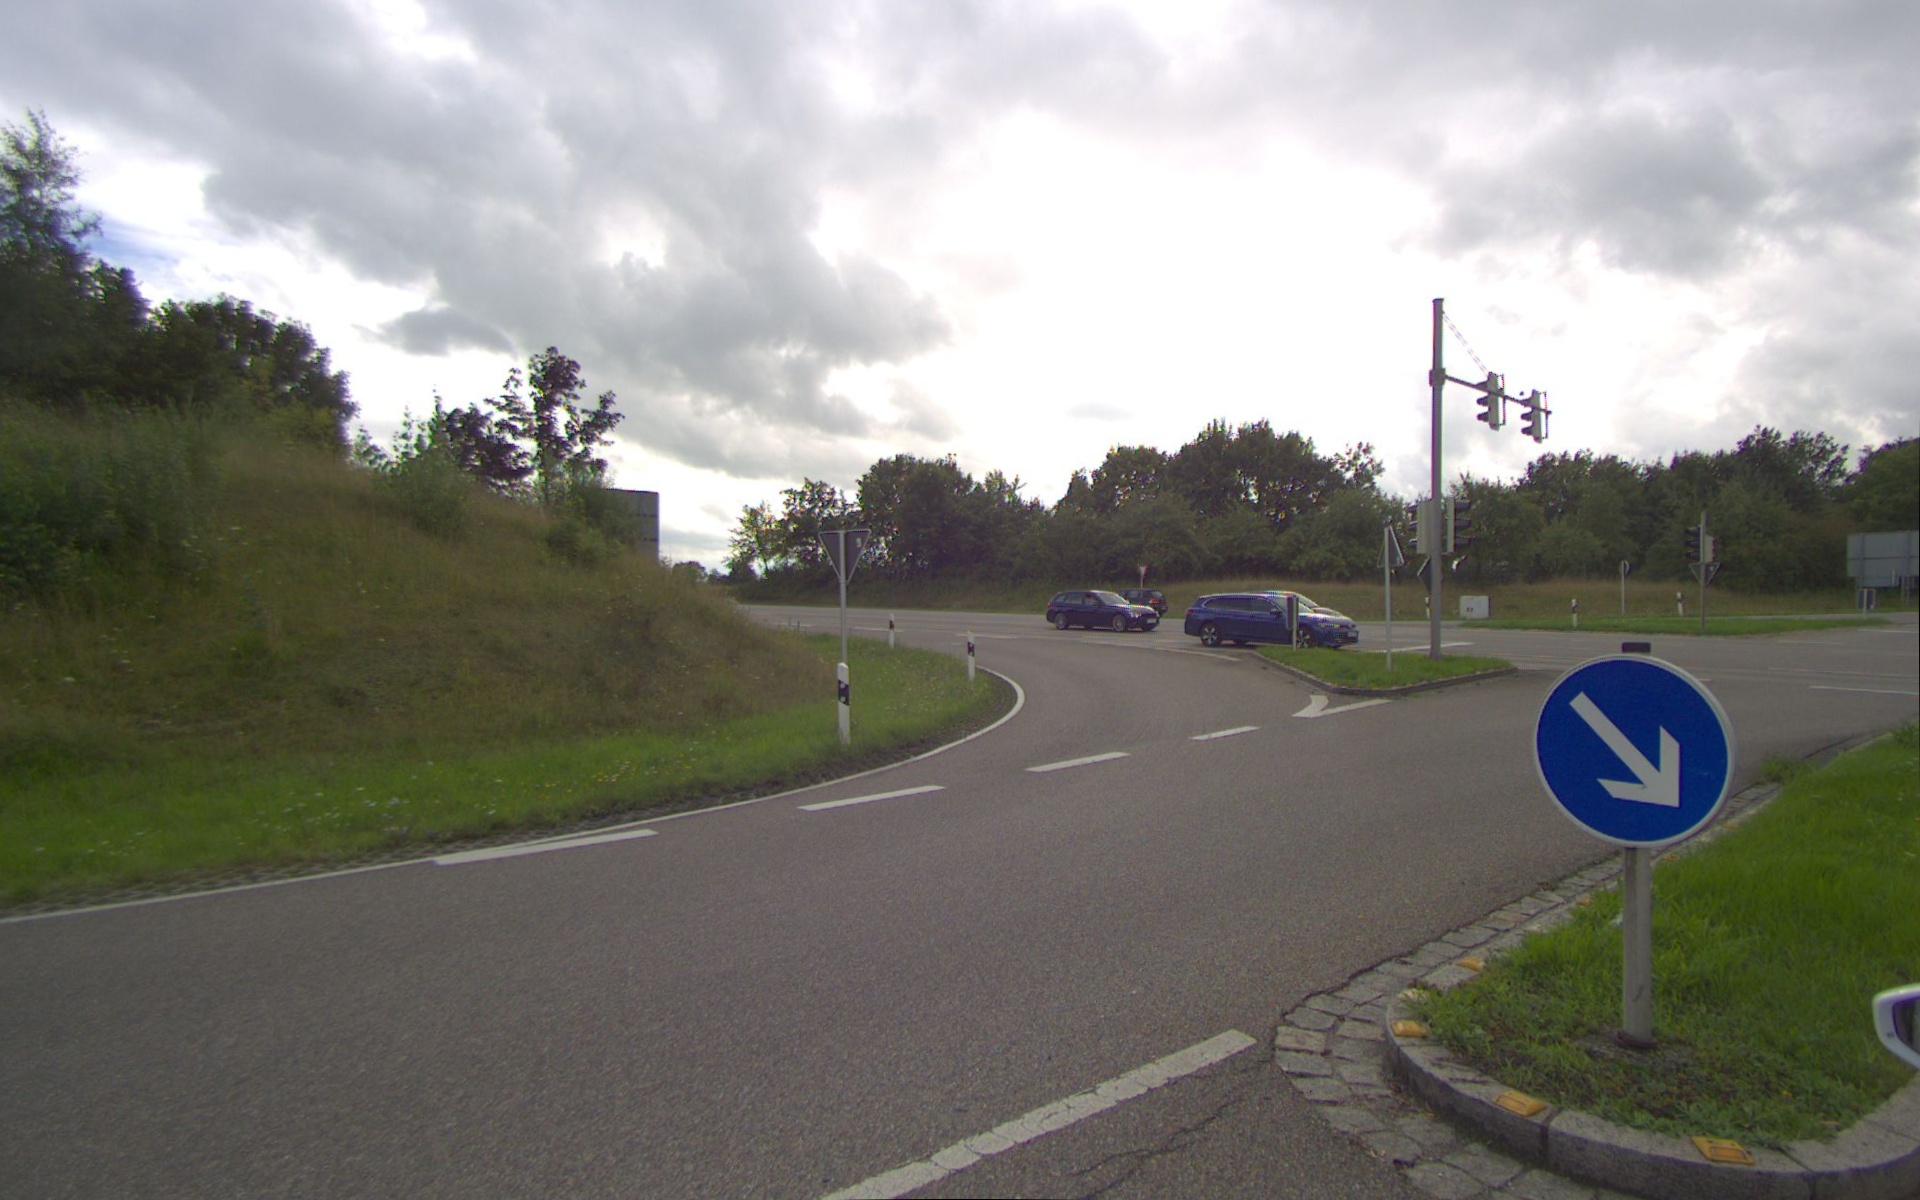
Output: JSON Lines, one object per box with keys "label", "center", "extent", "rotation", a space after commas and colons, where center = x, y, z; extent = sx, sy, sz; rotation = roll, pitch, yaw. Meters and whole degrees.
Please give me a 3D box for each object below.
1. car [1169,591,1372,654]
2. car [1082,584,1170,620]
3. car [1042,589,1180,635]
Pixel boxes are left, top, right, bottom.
{"label": "car", "center": [8.484, 0.542, 27.815], "extent": [2.038, 1.555, 5.060], "rotation": [-1, 2, -44]}
{"label": "car", "center": [8.313, 0.095, 50.380], "extent": [3.929, 1.712, 1.845], "rotation": [1, 0, 30]}
{"label": "car", "center": [5.449, 0.375, 36.747], "extent": [2.040, 1.504, 4.820], "rotation": [-2, 2, -43]}
